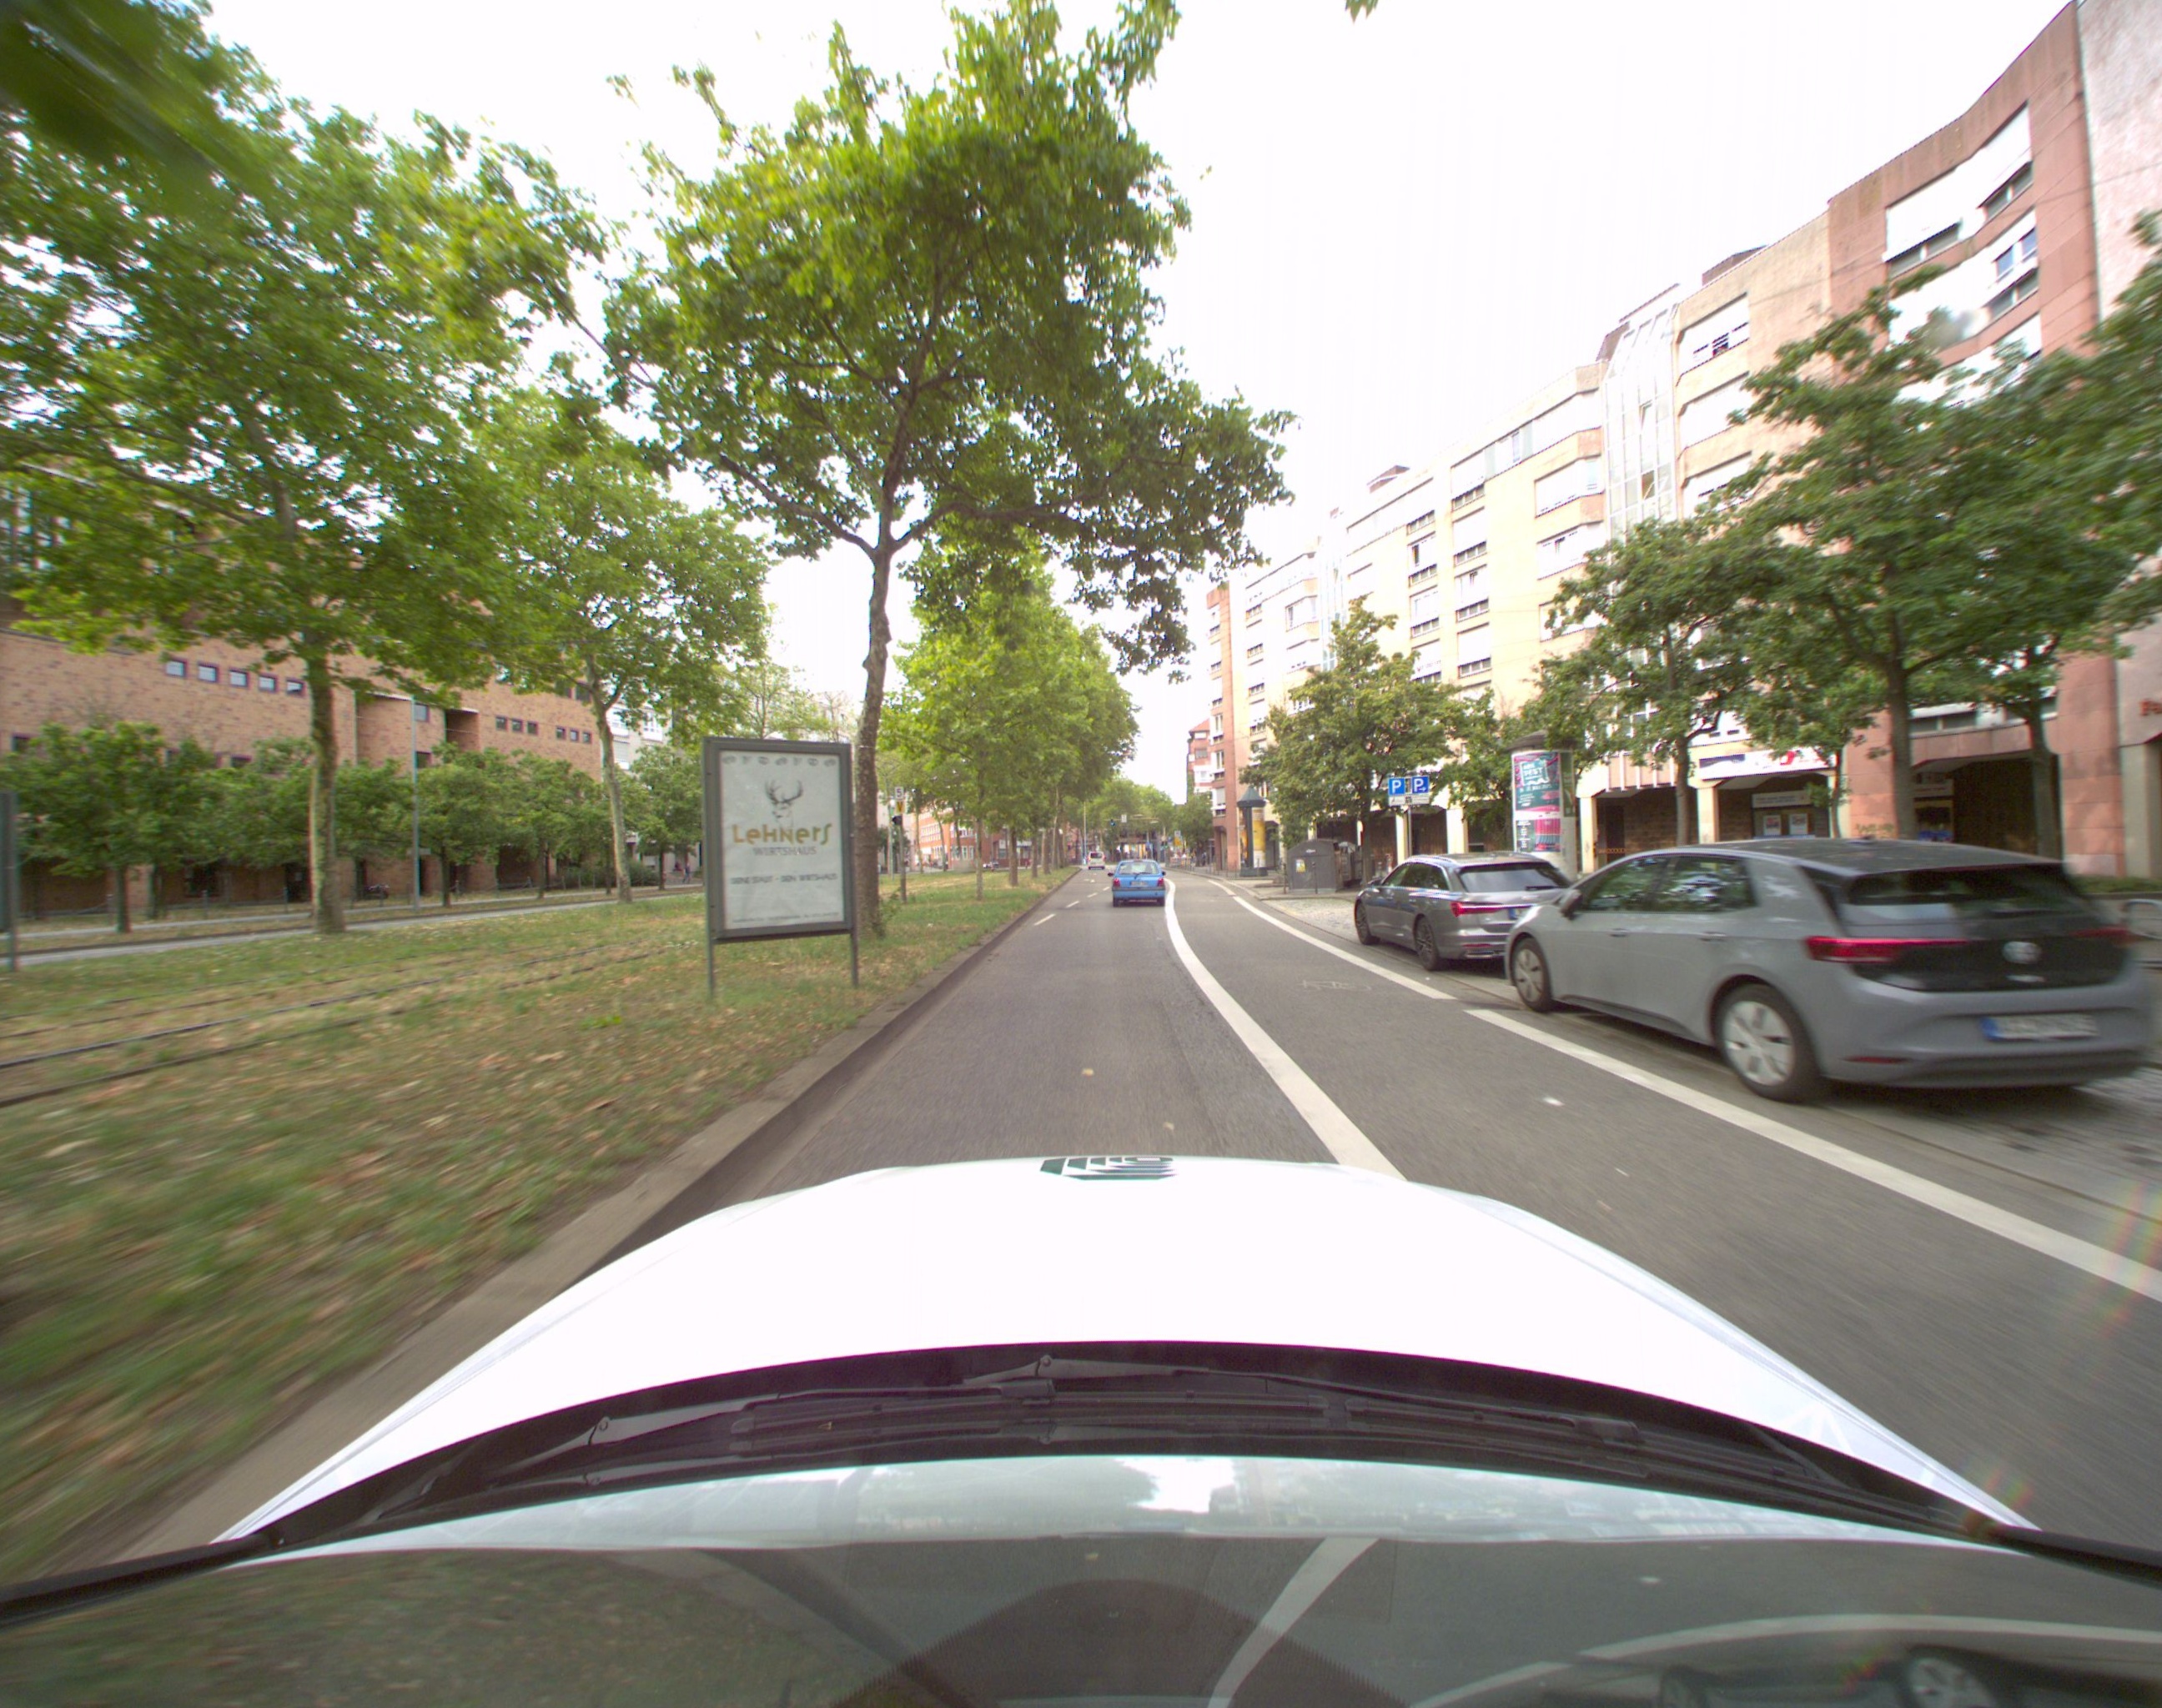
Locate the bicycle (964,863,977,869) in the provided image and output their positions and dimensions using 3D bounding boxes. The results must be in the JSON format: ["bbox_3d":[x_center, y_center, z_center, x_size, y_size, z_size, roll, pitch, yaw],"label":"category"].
[{"bbox_3d":[-18.792,2.060,138.488,1.996,0.836,0.573,-1,0,-35],"label":"bicycle"}]

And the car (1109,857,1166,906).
[{"bbox_3d":[1.714,0.808,25.537,1.634,1.386,3.845,-1,0,2],"label":"car"}]

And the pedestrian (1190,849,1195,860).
[{"bbox_3d":[16.257,0.101,118.802,0.671,1.538,0.949,-2,-1,9],"label":"pedestrian"}]

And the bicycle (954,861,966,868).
[{"bbox_3d":[-19.699,1.692,132.668,1.885,1.092,0.571,-1,0,-36],"label":"bicycle"}]

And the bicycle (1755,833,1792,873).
[{"bbox_3d":[20.106,-0.032,23.634,1.975,1.112,0.590,-1,-1,-44],"label":"bicycle"}]

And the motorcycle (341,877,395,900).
[{"bbox_3d":[-41.824,2.010,47.789,2.198,1.191,0.791,-2,0,-22],"label":"motorcycle"}]

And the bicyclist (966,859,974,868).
[{"bbox_3d":[-18.883,1.620,138.463,1.038,1.562,0.576,-1,-1,-35],"label":"bicyclist"}]

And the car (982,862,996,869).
[{"bbox_3d":[-15.721,1.971,139.686,1.723,1.245,4.535,-1,0,1],"label":"car"}]

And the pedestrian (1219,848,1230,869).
[{"bbox_3d":[11.248,0.366,63.850,0.538,1.650,0.830,-2,-1,30],"label":"pedestrian"}]

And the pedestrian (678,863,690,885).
[{"bbox_3d":[-31.813,1.581,65.312,0.550,1.705,0.627,-2,0,6],"label":"pedestrian"}]

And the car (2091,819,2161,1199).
[{"bbox_3d":[5.135,0.582,1.335,1.709,1.519,4.204,-4,0,1],"label":"car"}]

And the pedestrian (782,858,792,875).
[{"bbox_3d":[-31.958,1.397,88.434,0.765,1.809,0.695,-2,0,11],"label":"pedestrian"}]

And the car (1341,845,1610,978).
[{"bbox_3d":[5.262,0.655,11.670,1.808,1.442,4.671,-3,0,4],"label":"car"}]

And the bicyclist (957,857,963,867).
[{"bbox_3d":[-19.702,1.294,132.679,0.788,1.673,0.567,-1,-1,-35],"label":"bicyclist"}]

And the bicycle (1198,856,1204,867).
[{"bbox_3d":[12.577,0.738,85.303,0.609,1.118,1.809,-2,0,9],"label":"bicycle"}]

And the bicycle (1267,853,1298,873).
[{"bbox_3d":[12.276,0.550,49.563,1.644,1.129,0.674,-3,-1,43],"label":"bicycle"}]

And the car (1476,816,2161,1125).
[{"bbox_3d":[4.978,0.590,6.388,1.733,1.519,4.404,-3,0,3],"label":"car"}]

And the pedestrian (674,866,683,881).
[{"bbox_3d":[-35.439,1.686,71.713,0.454,1.323,0.556,-2,0,13],"label":"pedestrian"}]

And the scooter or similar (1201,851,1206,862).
[{"bbox_3d":[14.084,0.296,93.584,0.471,1.206,1.333,-2,0,8],"label":"scooter or similar"}]

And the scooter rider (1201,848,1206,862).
[{"bbox_3d":[14.042,0.077,93.298,0.458,1.557,0.566,-2,-1,7],"label":"scooter rider"}]

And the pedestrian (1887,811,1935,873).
[{"bbox_3d":[22.804,-0.327,22.392,0.529,1.662,0.854,-2,0,13],"label":"pedestrian"}]

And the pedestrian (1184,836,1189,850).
[{"bbox_3d":[13.225,-1.378,101.930,0.514,1.616,0.852,-2,0,7],"label":"pedestrian"}]

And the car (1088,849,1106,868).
[{"bbox_3d":[1.833,0.486,90.906,1.924,1.925,4.957,-2,0,2],"label":"car"}]

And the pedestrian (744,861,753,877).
[{"bbox_3d":[-35.139,1.606,86.131,0.632,1.672,0.661,-2,0,10],"label":"pedestrian"}]
